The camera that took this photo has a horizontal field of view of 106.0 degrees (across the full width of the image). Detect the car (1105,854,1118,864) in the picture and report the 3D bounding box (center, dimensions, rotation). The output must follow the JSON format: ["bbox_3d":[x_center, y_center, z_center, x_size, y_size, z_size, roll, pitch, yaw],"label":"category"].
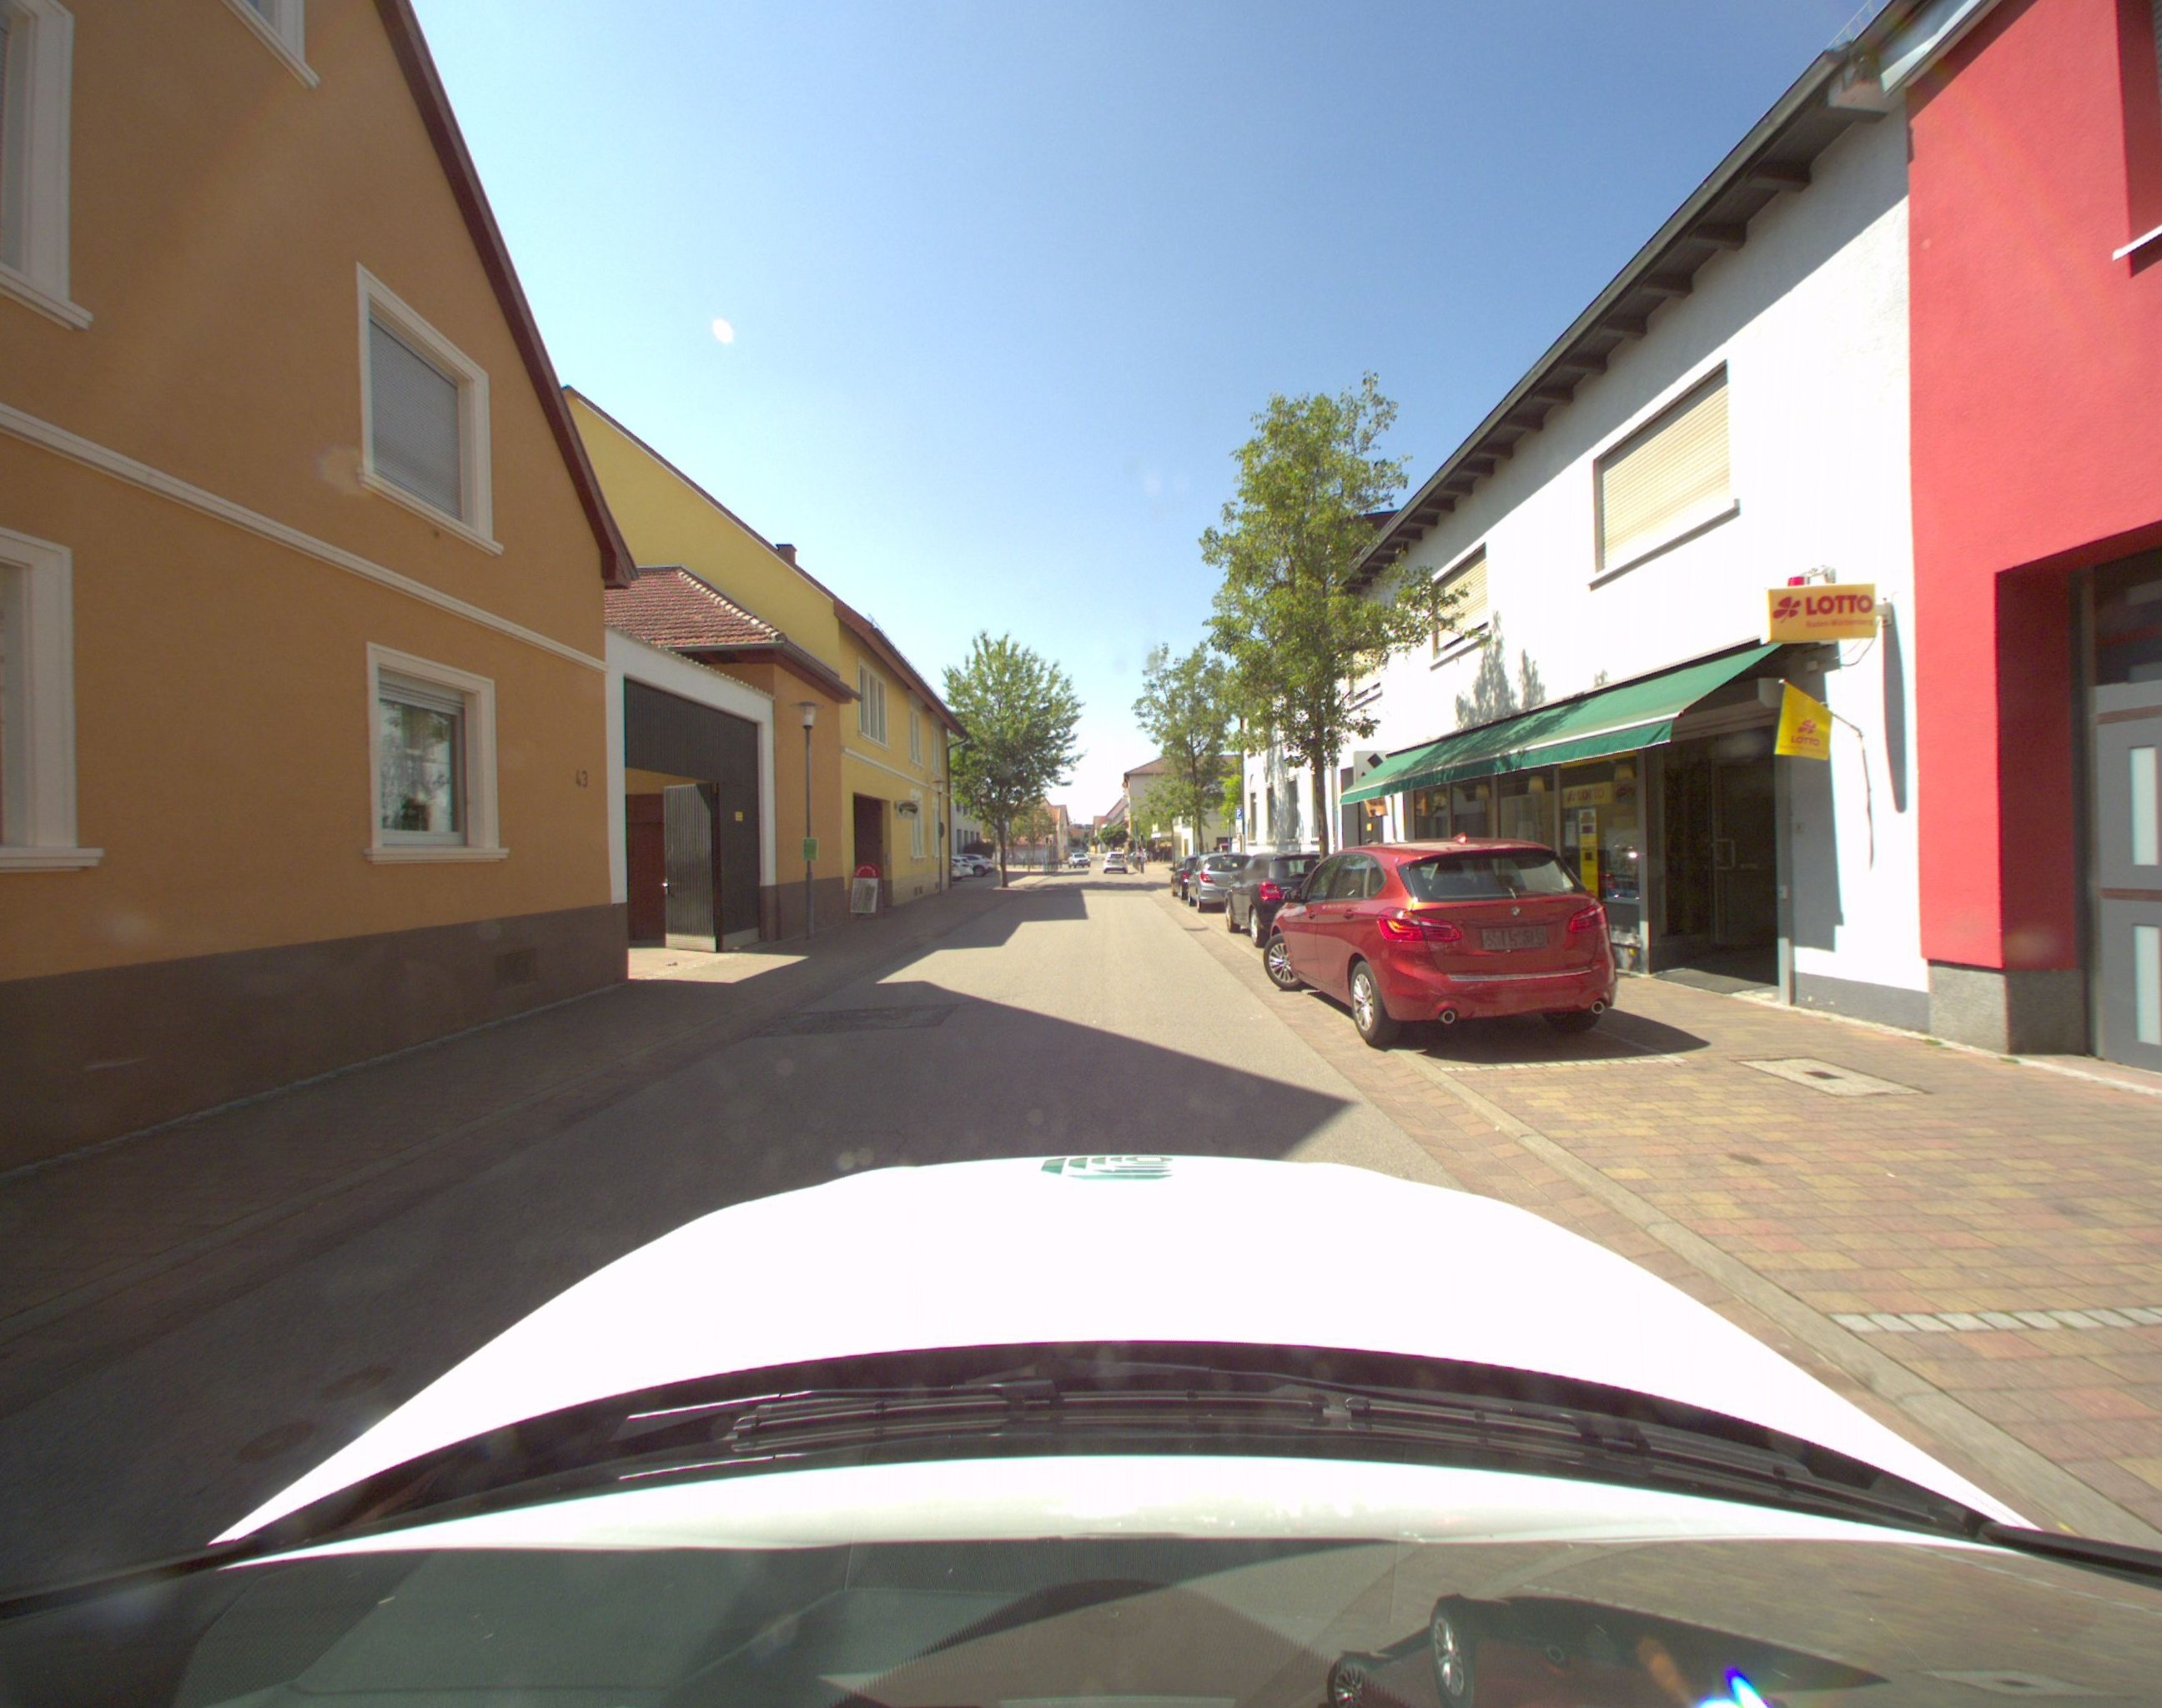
[{"bbox_3d":[4.459,0.699,119.530,1.797,1.501,4.004,0,0,3],"label":"car"}]

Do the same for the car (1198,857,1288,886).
[{"bbox_3d":[8.951,0.937,45.164,4.528,1.441,1.836,-2,-1,-5],"label":"car"}]

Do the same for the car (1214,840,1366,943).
[{"bbox_3d":[3.459,0.627,14.138,1.731,1.513,3.735,1,-2,1],"label":"car"}]

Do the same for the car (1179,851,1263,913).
[{"bbox_3d":[3.662,0.686,21.894,1.710,1.481,4.098,0,0,2],"label":"car"}]

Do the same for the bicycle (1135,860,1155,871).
[{"bbox_3d":[6.367,1.133,80.886,1.896,0.958,0.671,-2,-1,-21],"label":"bicycle"}]

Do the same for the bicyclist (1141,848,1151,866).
[{"bbox_3d":[6.443,0.301,80.947,0.762,1.664,0.666,-2,-1,-20],"label":"bicyclist"}]

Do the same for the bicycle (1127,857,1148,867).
[{"bbox_3d":[5.495,0.773,79.489,1.893,0.958,0.672,-2,0,-16],"label":"bicycle"}]

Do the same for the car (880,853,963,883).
[{"bbox_3d":[-8.397,0.726,43.156,3.975,1.451,1.807,1,0,-1],"label":"car"}]

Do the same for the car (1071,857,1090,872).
[{"bbox_3d":[-0.030,1.109,87.219,1.844,1.573,4.001,0,-1,1],"label":"car"}]

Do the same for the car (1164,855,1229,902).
[{"bbox_3d":[3.879,0.777,27.808,1.698,1.481,3.922,0,0,0],"label":"car"}]

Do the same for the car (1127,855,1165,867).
[{"bbox_3d":[8.095,0.851,101.717,4.421,1.464,1.880,0,-1,-10],"label":"car"}]

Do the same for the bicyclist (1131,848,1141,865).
[{"bbox_3d":[5.334,0.227,79.440,0.760,1.581,0.667,-2,0,-15],"label":"bicyclist"}]

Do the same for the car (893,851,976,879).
[{"bbox_3d":[-8.642,0.657,48.218,4.488,1.554,1.935,1,-2,1],"label":"car"}]

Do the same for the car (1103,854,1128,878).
[{"bbox_3d":[2.605,0.878,61.805,1.827,1.652,4.002,-2,0,2],"label":"car"}]

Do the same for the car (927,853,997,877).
[{"bbox_3d":[-8.219,0.760,56.622,4.492,1.554,2.147,1,-1,-1],"label":"car"}]

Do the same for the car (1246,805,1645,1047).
[{"bbox_3d":[2.915,0.470,7.620,1.824,1.588,4.086,-2,0,-1],"label":"car"}]
